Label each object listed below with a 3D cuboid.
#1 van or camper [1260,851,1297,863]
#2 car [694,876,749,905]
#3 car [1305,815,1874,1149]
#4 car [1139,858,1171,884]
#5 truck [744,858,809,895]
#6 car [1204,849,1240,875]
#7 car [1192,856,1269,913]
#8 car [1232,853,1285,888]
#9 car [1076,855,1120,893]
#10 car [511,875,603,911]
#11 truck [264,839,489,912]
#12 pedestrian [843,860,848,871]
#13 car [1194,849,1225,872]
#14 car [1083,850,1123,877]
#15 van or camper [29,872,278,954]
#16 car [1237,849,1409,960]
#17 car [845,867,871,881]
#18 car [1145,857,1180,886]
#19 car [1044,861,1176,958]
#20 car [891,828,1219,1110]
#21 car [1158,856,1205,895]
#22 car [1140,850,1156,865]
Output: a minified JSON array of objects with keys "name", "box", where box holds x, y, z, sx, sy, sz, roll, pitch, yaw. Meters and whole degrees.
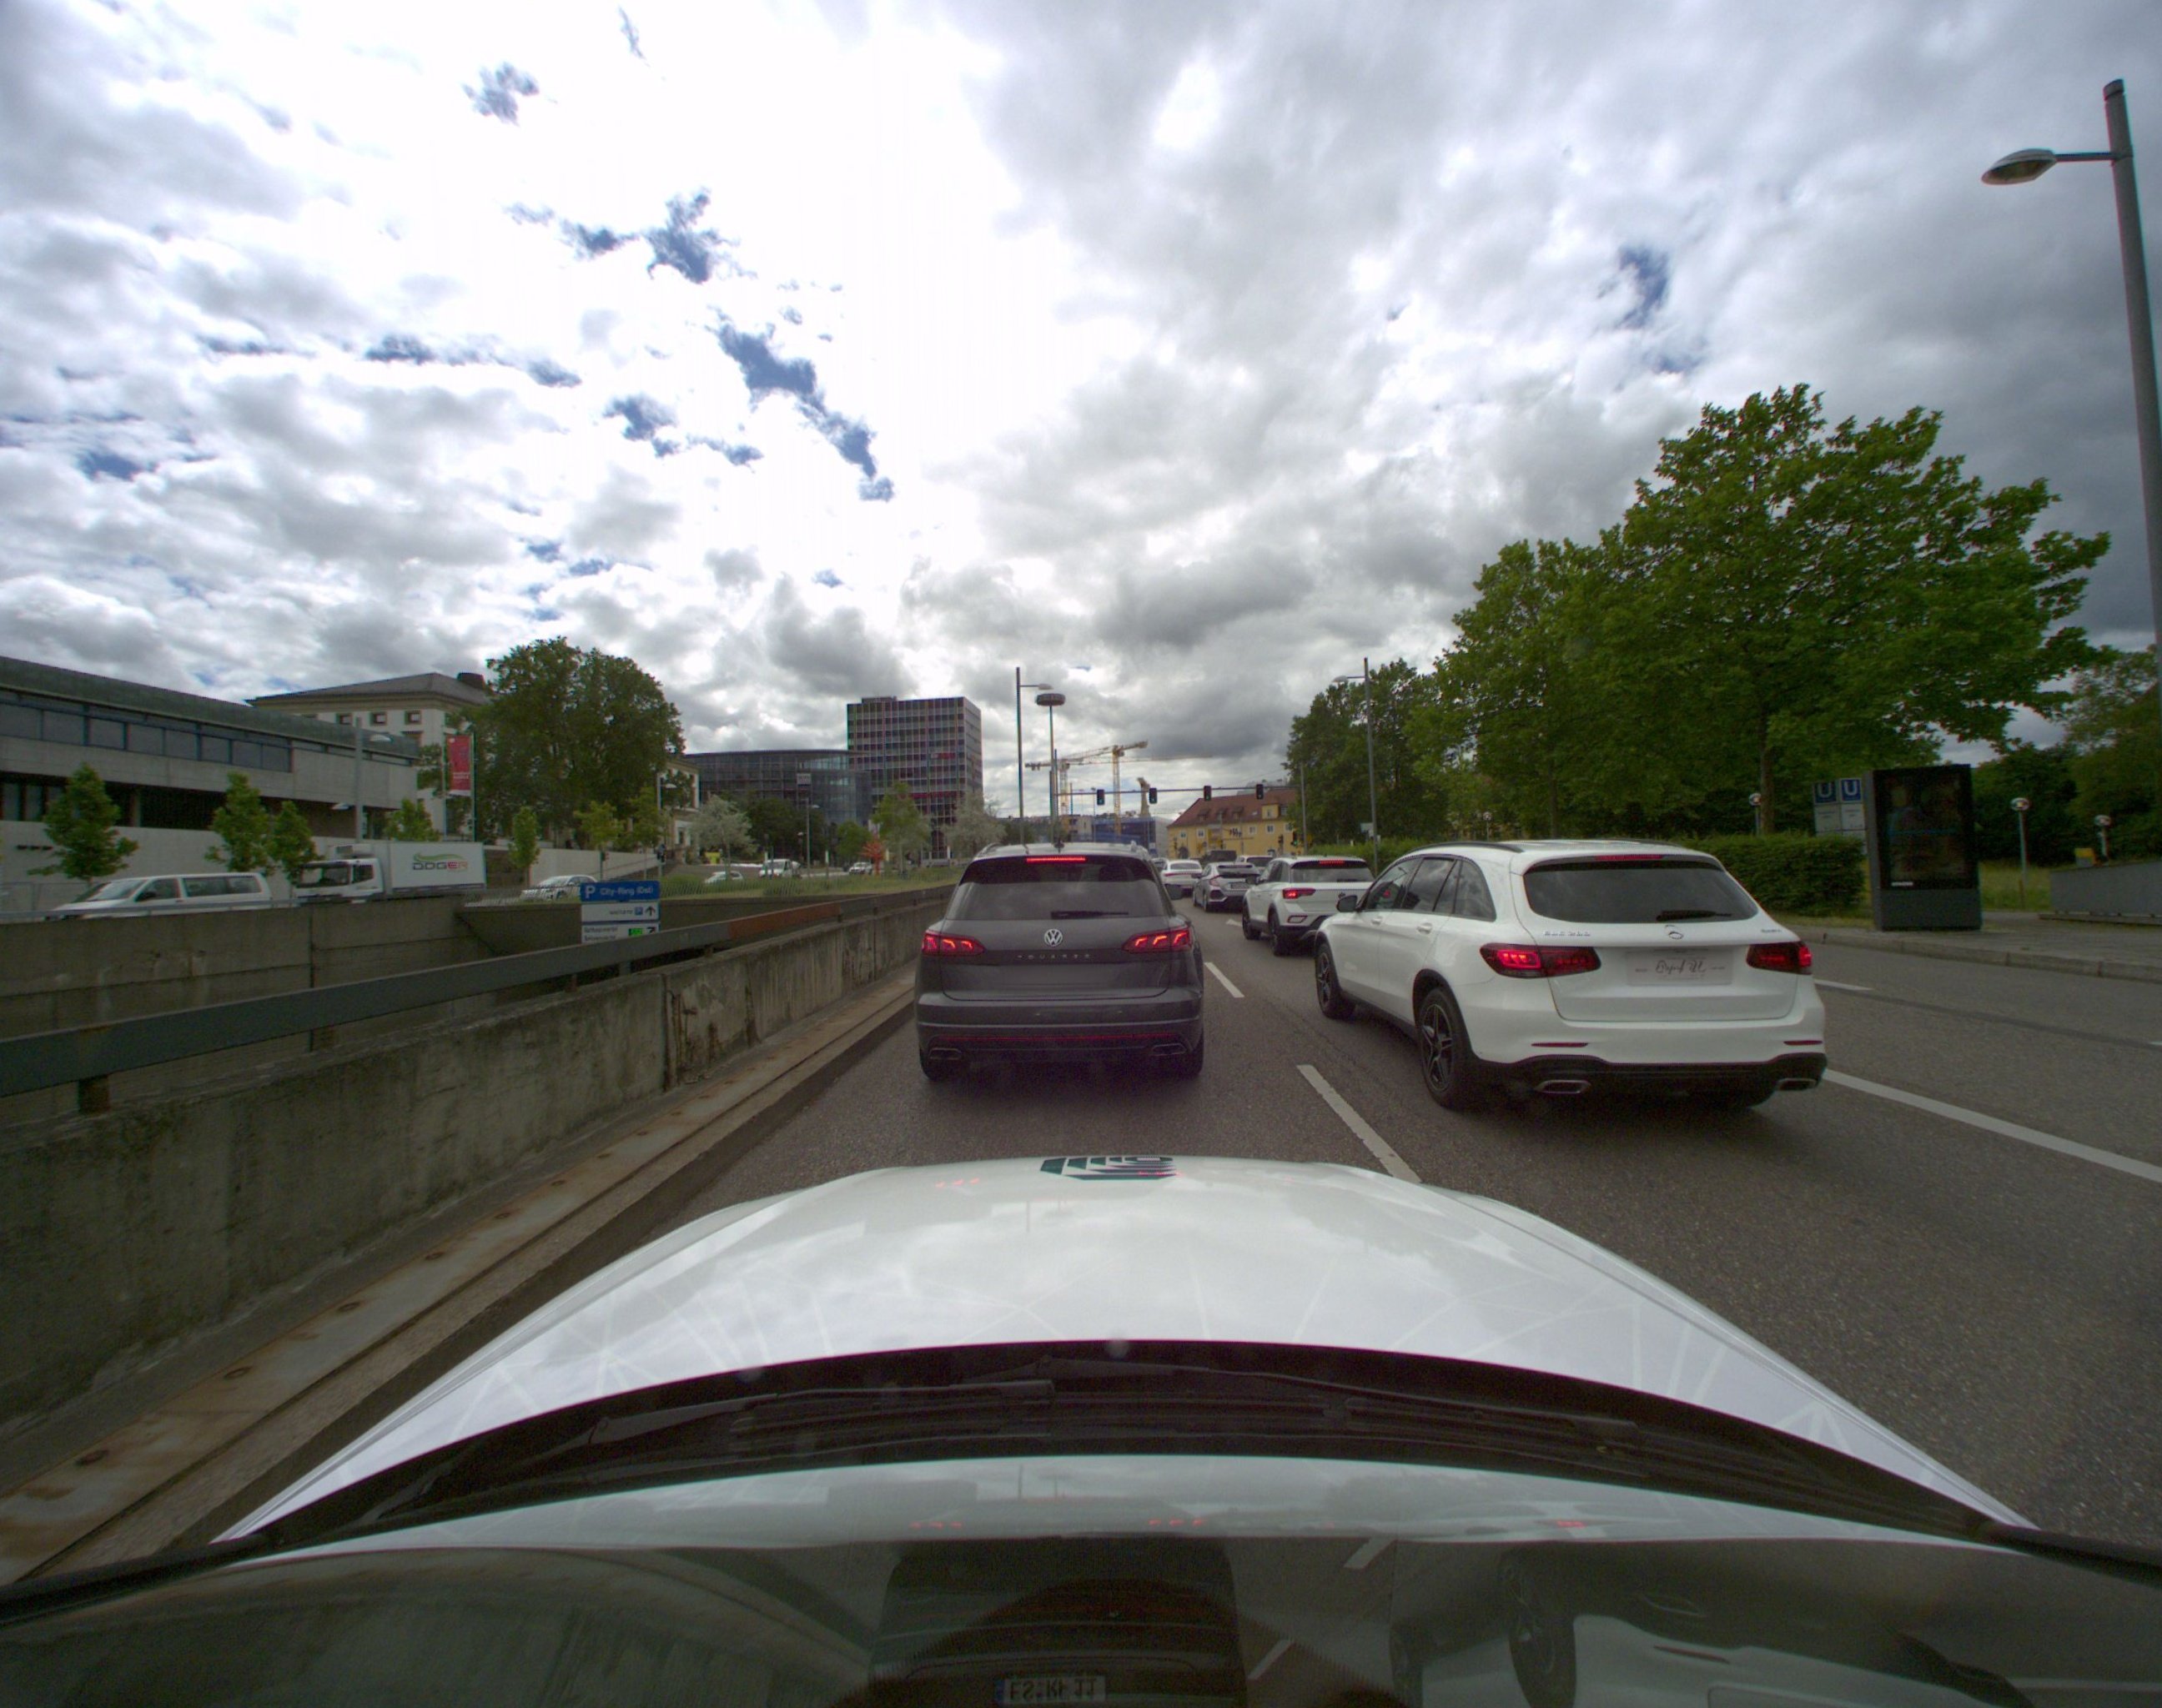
[{"name":"van or camper","box":[34.294,0.484,141.656,5.947,2.014,2.032,-2,-1,37]},{"name":"car","box":[-26.087,2.613,59.211,1.986,1.816,4.260,-1,0,2]},{"name":"car","box":[3.129,0.641,6.258,1.811,1.647,4.382,-1,0,3]},{"name":"car","box":[5.113,1.144,56.317,2.129,1.728,4.076,-1,-1,5]},{"name":"truck","box":[-26.024,1.865,69.957,2.453,2.816,7.084,-1,0,3]},{"name":"car","box":[8.514,0.482,49.495,1.712,1.502,3.984,-1,0,3]},{"name":"car","box":[4.346,0.847,24.195,1.712,1.502,4.147,-1,0,3]},{"name":"car","box":[8.174,0.706,37.811,1.795,1.502,3.984,-1,0,3]},{"name":"car","box":[0.755,0.832,35.334,1.807,1.496,3.908,-1,0,2]},{"name":"car","box":[-26.406,1.939,41.223,1.712,1.574,4.274,-1,0,3]},{"name":"truck","box":[-30.404,0.816,35.727,3.217,2.787,7.261,-1,0,4]},{"name":"pedestrian","box":[-34.895,1.697,120.565,0.522,1.649,0.650,0,-1,0]},{"name":"car","box":[9.121,0.449,58.062,1.712,1.502,3.984,-1,0,3]},{"name":"car","box":[1.395,0.515,48.764,2.235,1.502,4.615,-1,0,3]},{"name":"van or camper","box":[-26.955,1.621,23.980,1.986,2.013,4.559,-1,0,2]},{"name":"car","box":[3.898,0.734,13.787,1.886,1.585,3.802,-1,0,2]},{"name":"car","box":[-27.870,2.431,102.068,1.712,1.574,4.616,-1,0,3]},{"name":"car","box":[4.483,0.929,45.208,1.712,1.502,3.984,-1,0,3]},{"name":"car","box":[0.505,0.871,14.466,1.986,1.387,4.002,-1,0,2]},{"name":"car","box":[-0.096,0.681,6.844,1.925,1.647,4.002,-1,0,2]},{"name":"car","box":[4.095,0.839,33.647,1.711,1.502,3.986,-1,0,4]},{"name":"car","box":[9.233,0.476,112.073,1.986,2.013,4.002,-1,0,2]}]
